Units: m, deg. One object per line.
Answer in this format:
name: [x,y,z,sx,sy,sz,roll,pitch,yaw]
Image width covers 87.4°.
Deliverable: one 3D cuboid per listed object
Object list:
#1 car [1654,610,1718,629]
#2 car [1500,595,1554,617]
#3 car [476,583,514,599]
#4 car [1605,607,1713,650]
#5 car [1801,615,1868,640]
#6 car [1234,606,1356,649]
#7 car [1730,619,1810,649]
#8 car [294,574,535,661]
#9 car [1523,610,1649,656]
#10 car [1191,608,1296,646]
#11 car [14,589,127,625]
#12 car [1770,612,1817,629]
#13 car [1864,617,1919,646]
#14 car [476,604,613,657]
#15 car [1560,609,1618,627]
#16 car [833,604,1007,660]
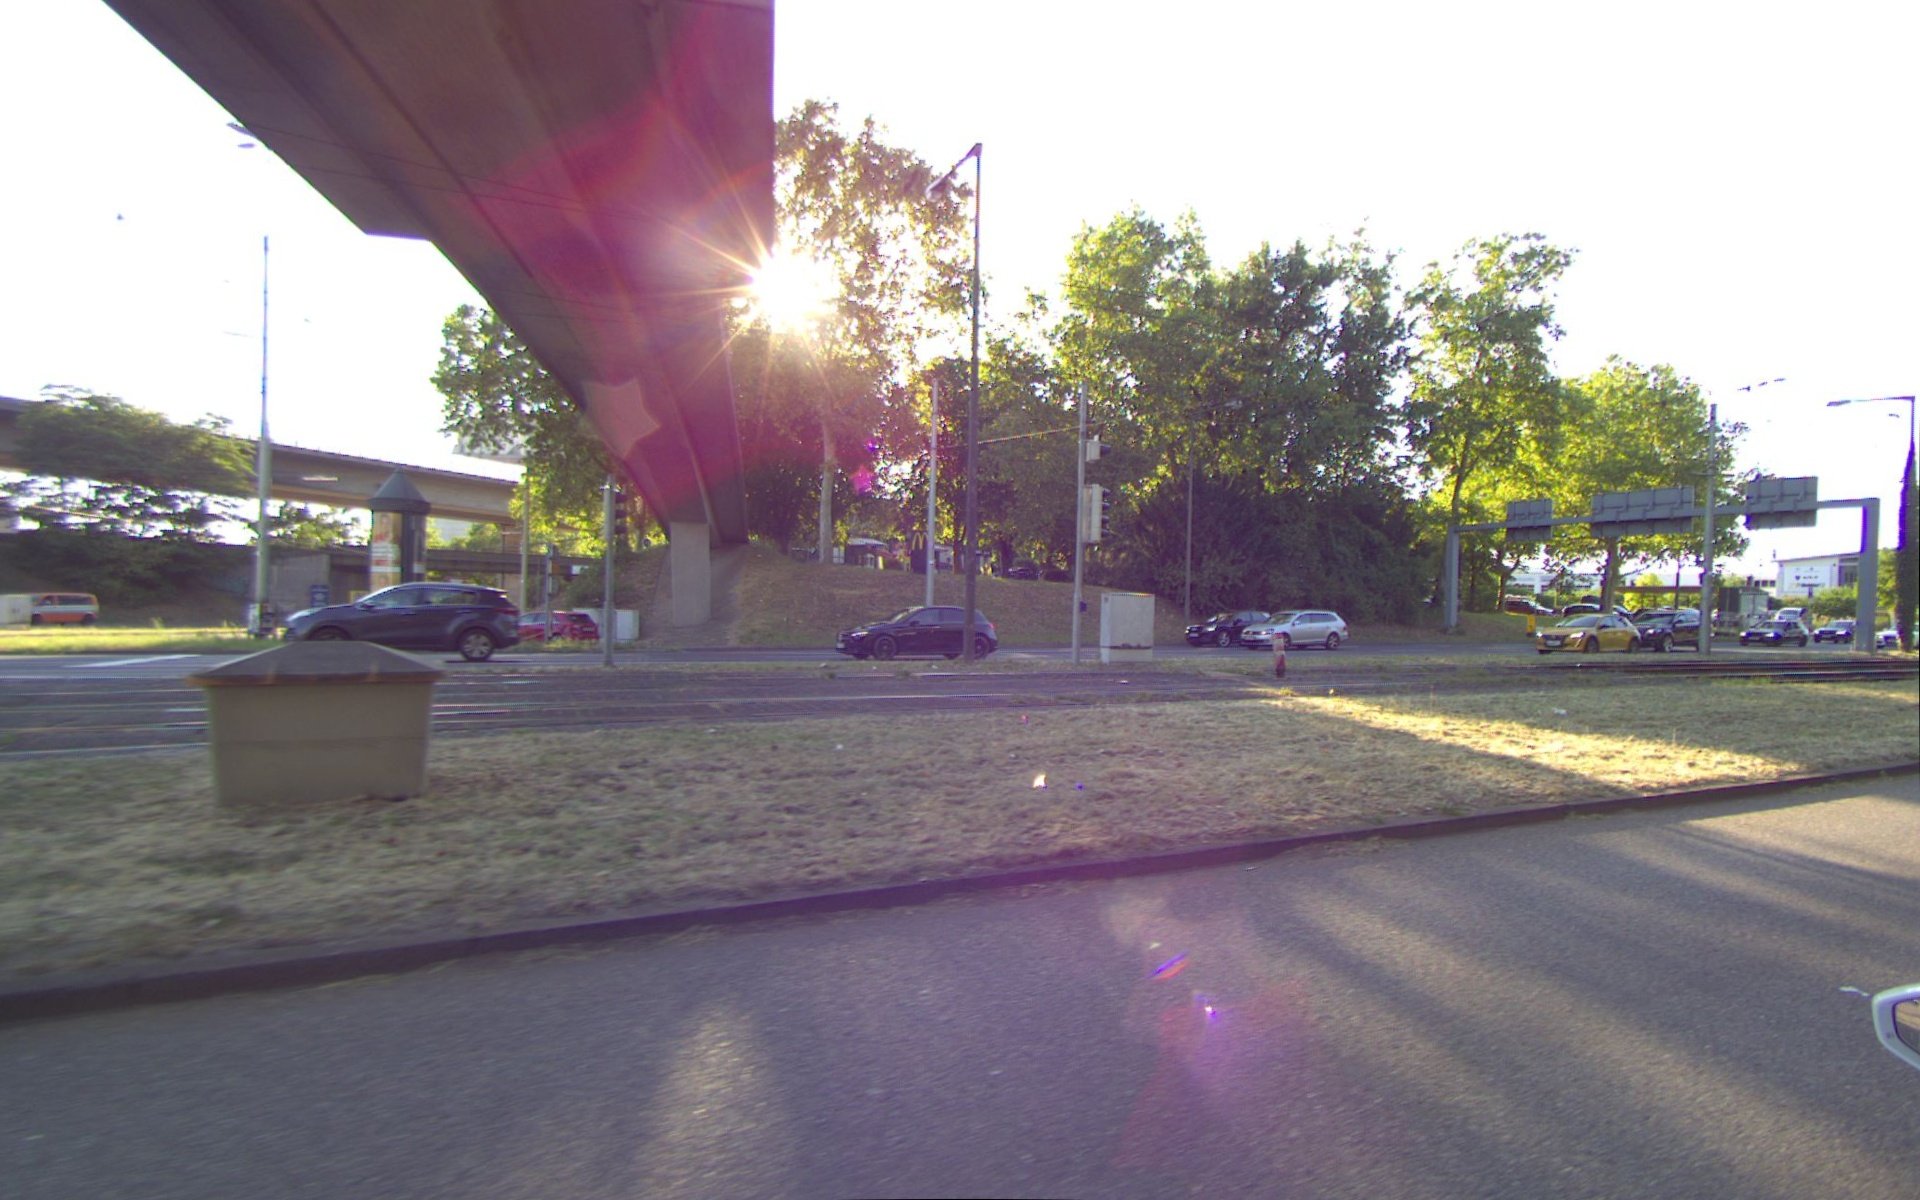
car: [61.918,1.654,85.726,1.757,1.405,4.048,2,1,-21]
car: [53.564,0.540,94.940,1.972,1.885,3.976,1,1,-24]
car: [-59.329,-1.092,128.080,1.962,1.794,3.997,2,-1,26]
car: [29.336,1.208,42.166,4.379,1.677,1.831,1,1,-27]
car: [57.205,1.825,65.697,4.543,1.501,1.830,1,1,-29]
car: [12.605,1.042,37.725,4.378,1.435,1.681,2,1,-25]
car: [44.475,1.865,55.141,4.381,1.501,1.830,1,1,-29]
car: [-11.444,0.385,21.361,4.301,1.673,1.784,2,0,-27]
car: [21.456,1.126,34.422,3.966,1.435,1.832,2,0,-26]
car: [11.579,1.113,40.999,4.142,1.435,1.678,2,1,-30]
car: [-53.023,0.424,60.071,1.961,2.040,5.425,2,0,-1]
car: [76.858,1.908,92.610,3.946,1.461,1.835,1,1,-25]
car: [50.958,1.708,54.245,4.544,1.435,1.830,1,0,-29]
car: [-14.742,1.050,35.681,4.269,1.672,1.797,2,0,15]
car: [56.206,1.610,89.814,1.760,1.405,4.041,1,1,-26]
car: [-1.043,0.840,26.473,4.252,1.327,1.681,2,0,-26]
